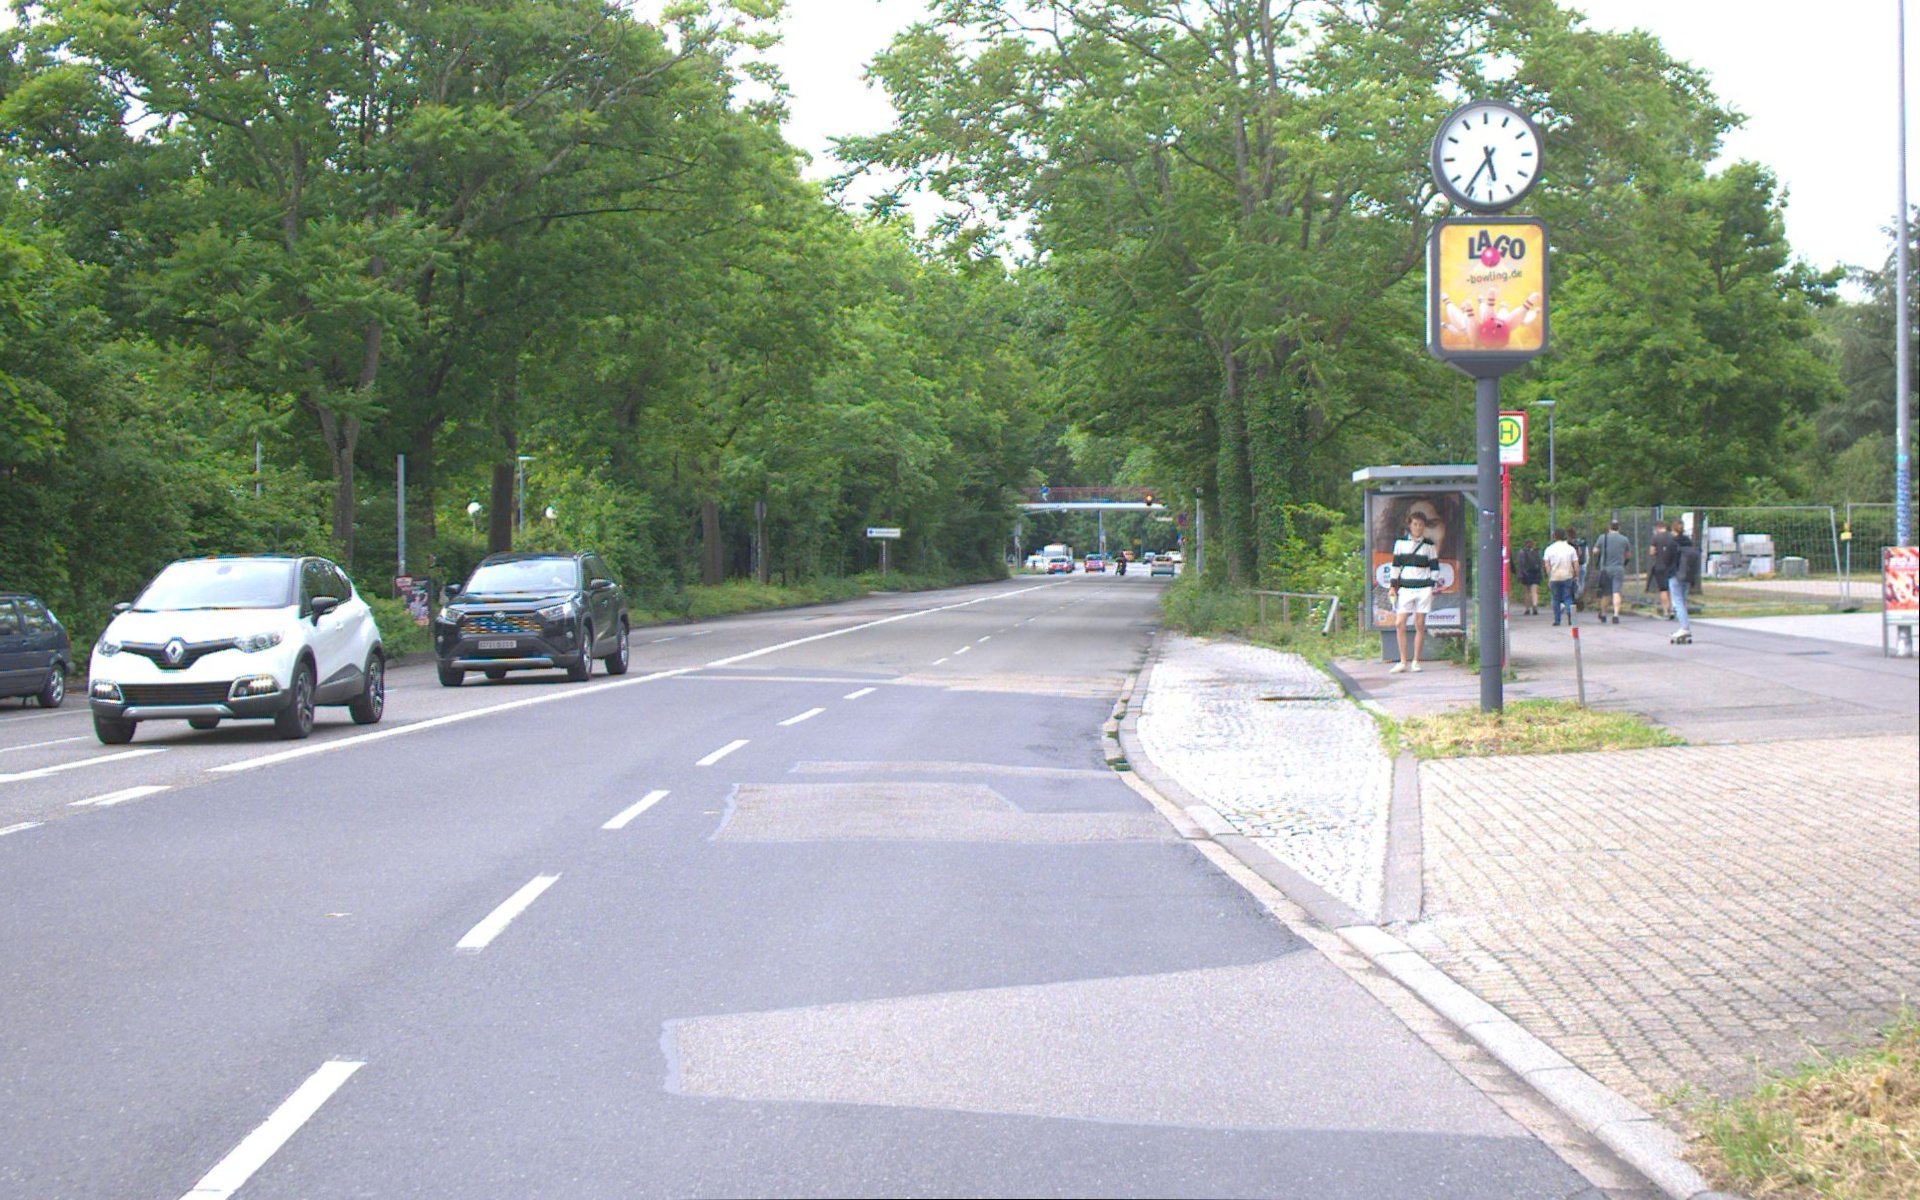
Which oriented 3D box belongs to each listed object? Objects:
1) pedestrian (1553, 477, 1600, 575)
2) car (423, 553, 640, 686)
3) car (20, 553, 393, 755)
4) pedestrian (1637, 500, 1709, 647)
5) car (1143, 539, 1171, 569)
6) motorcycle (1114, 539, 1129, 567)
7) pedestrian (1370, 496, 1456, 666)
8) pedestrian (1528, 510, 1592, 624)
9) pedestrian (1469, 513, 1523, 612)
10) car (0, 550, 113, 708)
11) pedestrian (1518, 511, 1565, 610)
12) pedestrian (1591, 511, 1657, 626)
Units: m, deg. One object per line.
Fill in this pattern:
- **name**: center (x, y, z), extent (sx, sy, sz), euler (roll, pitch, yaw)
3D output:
- **pedestrian**: center (12.794, -1.539, 71.360), extent (0.824, 2.007, 0.720), euler (-1, 1, 3)
- **car**: center (-5.396, 0.207, 43.845), extent (1.903, 1.588, 4.516), euler (-1, 1, 4)
- **car**: center (-6.361, 0.404, 29.526), extent (1.994, 1.541, 4.179), euler (-2, 1, 4)
- **pedestrian**: center (9.915, -0.373, 47.825), extent (0.842, 2.007, 0.894), euler (-1, 1, 5)
- **car**: center (13.836, -3.231, 241.522), extent (1.843, 2.007, 4.000), euler (1, 1, 4)
- **motorcycle**: center (11.551, -3.348, 245.445), extent (0.990, 1.929, 2.669), euler (1, 1, 4)
- **pedestrian**: center (5.556, -0.244, 42.216), extent (0.912, 2.006, 0.854), euler (-2, 3, 3)
- **pedestrian**: center (10.713, -0.584, 61.401), extent (0.925, 2.007, 1.040), euler (-1, 1, 0)
- **pedestrian**: center (11.102, -0.776, 71.245), extent (0.925, 2.007, 1.040), euler (-1, 1, 0)
- **car**: center (-11.193, 0.279, 38.869), extent (1.994, 1.684, 4.000), euler (1, 1, 4)
- **pedestrian**: center (12.017, -0.815, 71.082), extent (0.824, 2.007, 0.720), euler (-1, 1, 0)
- **pedestrian**: center (11.780, -0.569, 61.025), extent (0.925, 2.007, 1.040), euler (-1, 1, 0)
